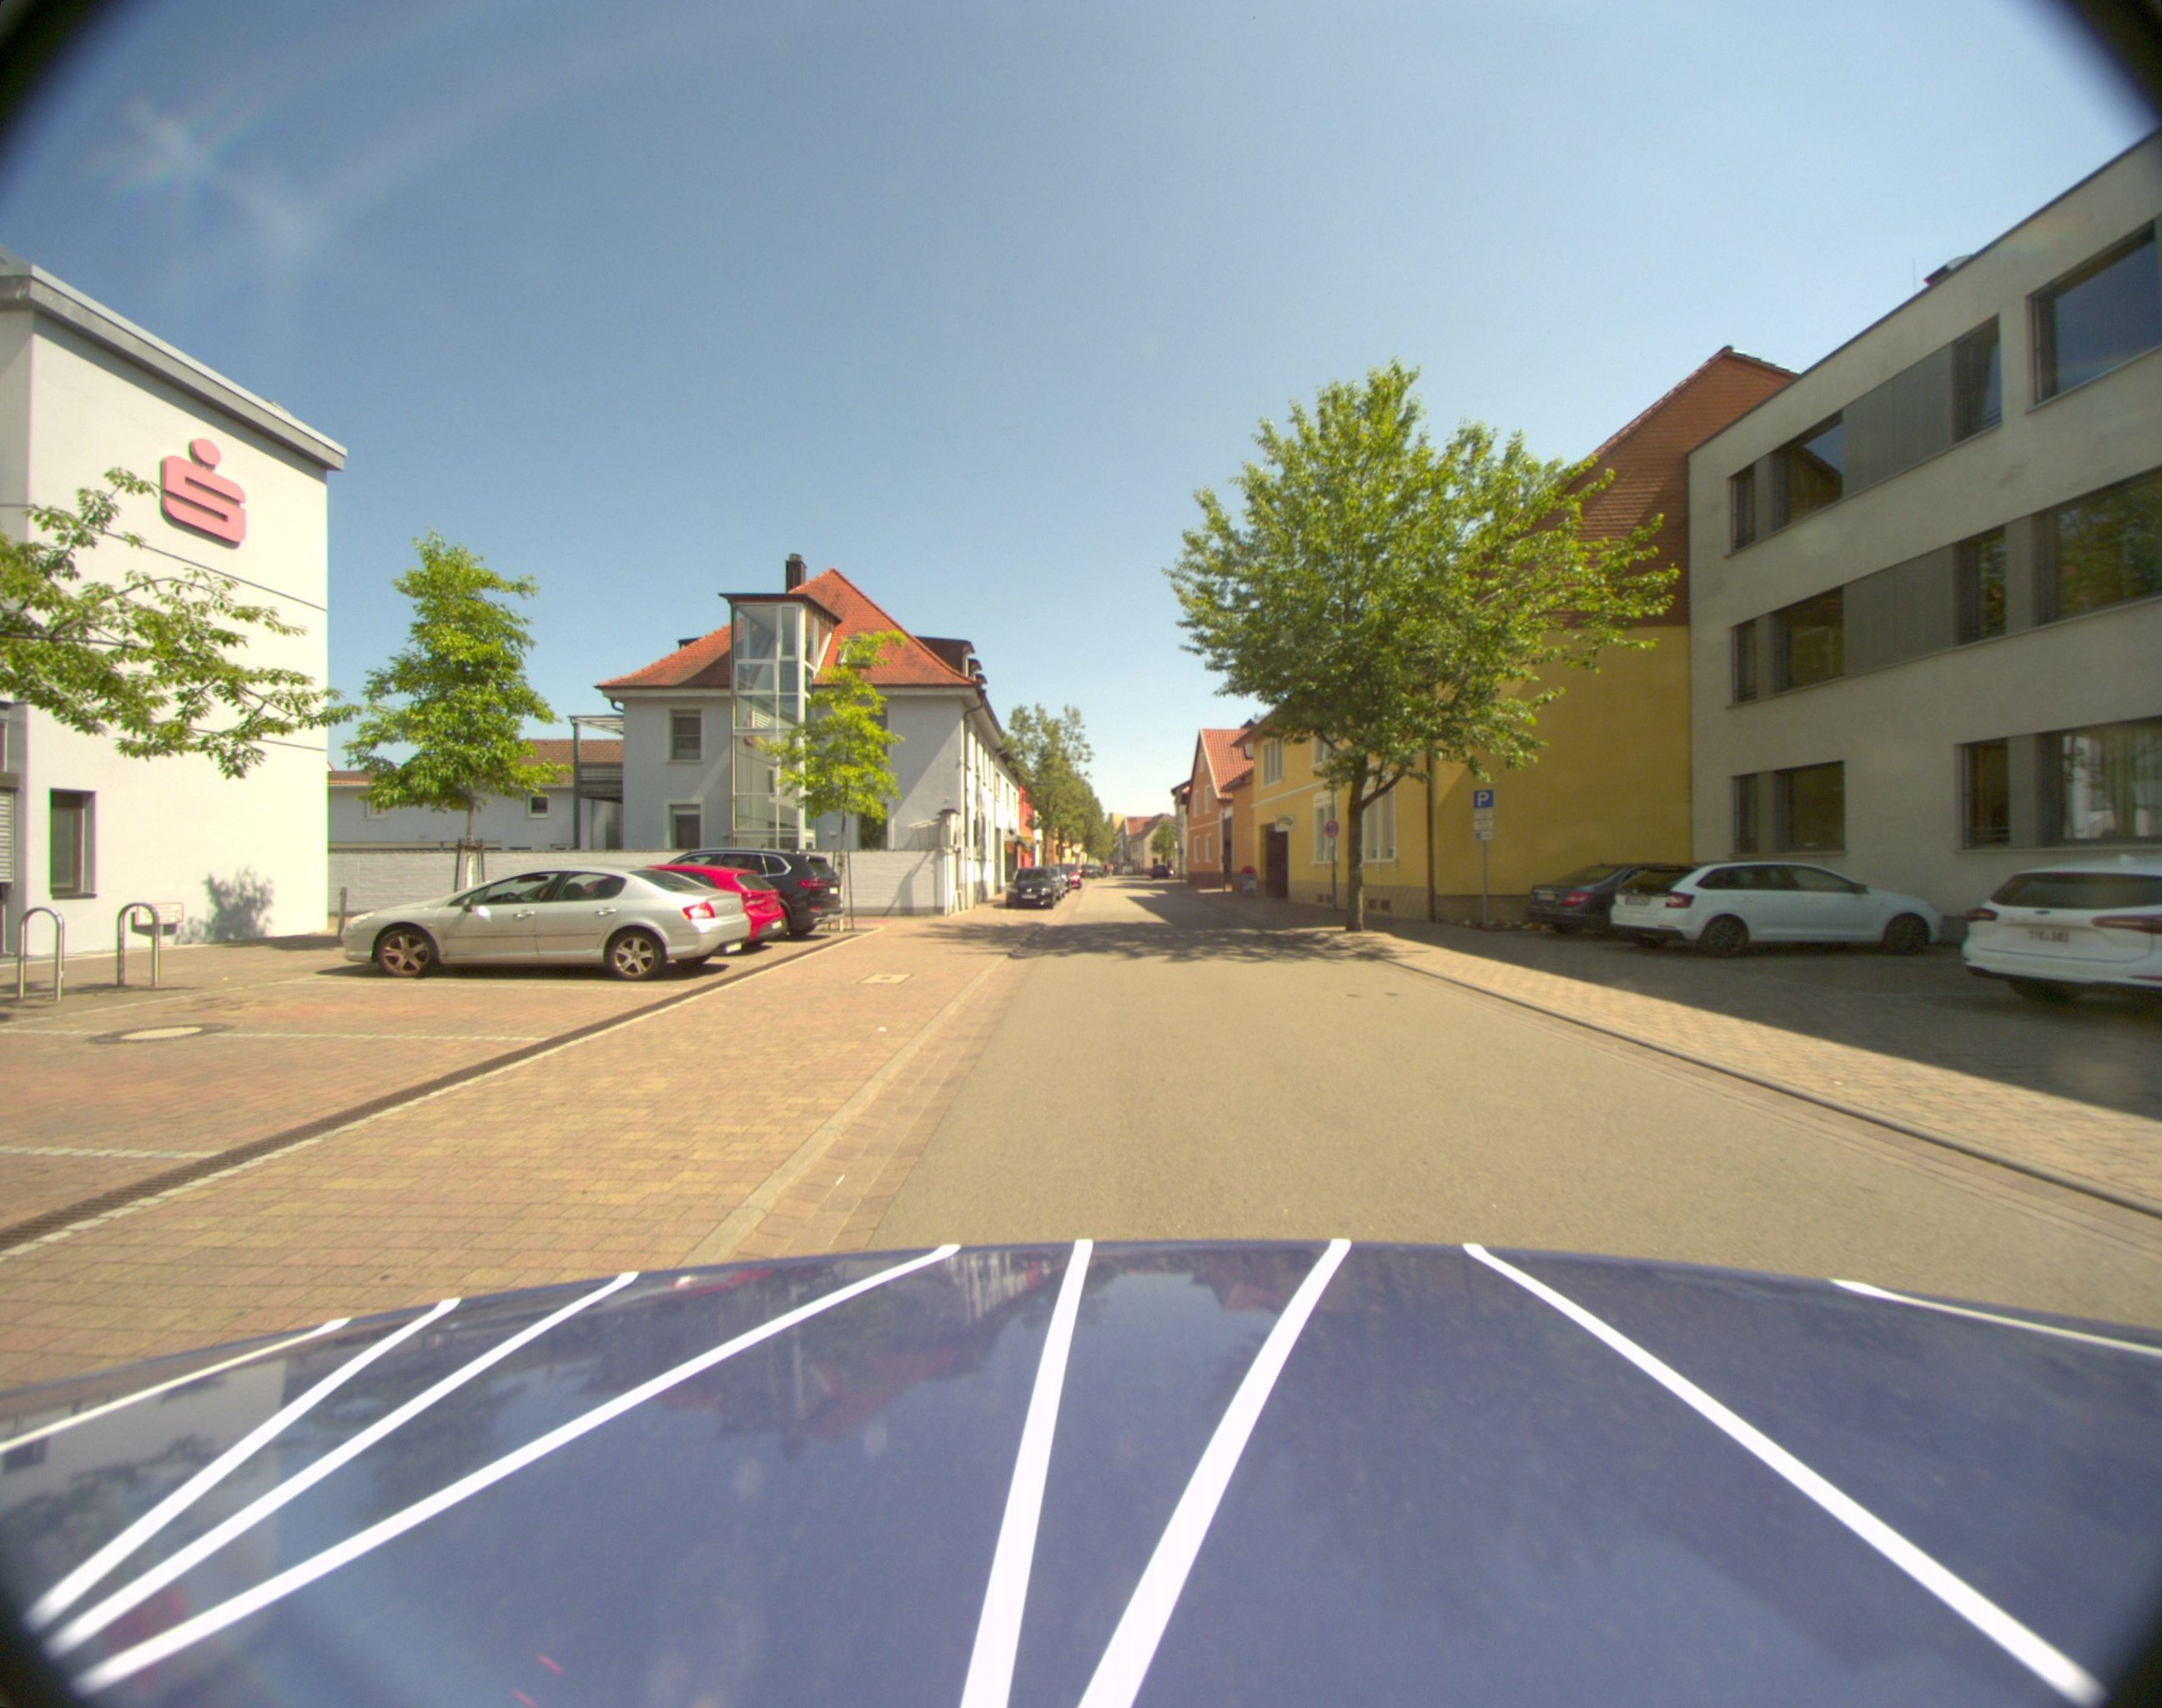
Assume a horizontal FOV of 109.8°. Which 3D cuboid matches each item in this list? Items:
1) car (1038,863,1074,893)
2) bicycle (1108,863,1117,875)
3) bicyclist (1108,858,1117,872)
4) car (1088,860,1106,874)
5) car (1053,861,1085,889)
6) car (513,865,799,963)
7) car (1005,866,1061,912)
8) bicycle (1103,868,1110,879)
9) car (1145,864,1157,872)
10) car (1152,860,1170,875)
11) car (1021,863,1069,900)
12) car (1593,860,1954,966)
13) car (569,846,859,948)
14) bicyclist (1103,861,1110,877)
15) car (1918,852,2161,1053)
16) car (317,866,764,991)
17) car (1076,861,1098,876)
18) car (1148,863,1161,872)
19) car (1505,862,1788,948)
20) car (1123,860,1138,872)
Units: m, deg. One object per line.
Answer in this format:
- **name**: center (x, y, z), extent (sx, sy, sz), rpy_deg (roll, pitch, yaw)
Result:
- **car**: center (-1.320, 1.265, 41.081), extent (1.741, 1.504, 3.736), rpy_deg (0, -1, 1)
- **bicycle**: center (3.825, 1.768, 90.959), extent (0.959, 1.362, 2.407), rpy_deg (0, 0, 5)
- **bicyclist**: center (3.819, 1.312, 90.844), extent (1.027, 1.635, 1.025), rpy_deg (0, 0, 5)
- **car**: center (2.110, 1.630, 98.278), extent (1.998, 1.759, 4.110), rpy_deg (0, 0, 5)
- **car**: center (-0.778, 1.273, 47.181), extent (1.834, 1.579, 4.087), rpy_deg (-1, 0, -2)
- **car**: center (-6.884, 0.958, 12.651), extent (3.740, 1.444, 1.744), rpy_deg (1, -1, -5)
- **car**: center (-1.665, 1.202, 27.560), extent (1.708, 1.472, 3.922), rpy_deg (1, 0, 0)
- **bicycle**: center (2.876, 2.214, 85.364), extent (0.635, 1.227, 1.895), rpy_deg (2, -2, 8)
- **car**: center (11.843, 2.360, 129.250), extent (1.572, 1.452, 3.801), rpy_deg (0, 0, -3)
- **car**: center (8.948, 1.531, 84.911), extent (1.862, 1.620, 4.050), rpy_deg (0, 0, 7)
- **car**: center (-1.509, 1.147, 33.281), extent (1.721, 1.472, 4.096), rpy_deg (1, 0, 2)
- **car**: center (10.724, 0.885, 12.003), extent (3.997, 1.442, 1.808), rpy_deg (-2, -1, 0)
- **car**: center (-7.055, 0.812, 15.057), extent (4.642, 1.760, 2.148), rpy_deg (1, -1, -1)
- **bicyclist**: center (2.906, 1.706, 85.487), extent (0.644, 1.766, 0.722), rpy_deg (2, -1, 7)
- **car**: center (10.983, 0.767, 6.932), extent (4.515, 1.545, 1.935), rpy_deg (-2, 1, 1)
- **car**: center (-6.920, 0.936, 10.189), extent (4.549, 1.432, 1.839), rpy_deg (1, -1, -5)
- **car**: center (0.700, 1.584, 84.759), extent (1.928, 1.594, 4.111), rpy_deg (0, 0, 9)
- **car**: center (11.764, 2.098, 121.855), extent (1.572, 1.452, 3.801), rpy_deg (0, 0, -3)
- **car**: center (10.691, 0.932, 14.593), extent (3.998, 1.422, 1.972), rpy_deg (-2, -1, -3)
- **car**: center (9.550, 2.324, 147.703), extent (2.443, 2.223, 4.960), rpy_deg (0, -1, -2)
